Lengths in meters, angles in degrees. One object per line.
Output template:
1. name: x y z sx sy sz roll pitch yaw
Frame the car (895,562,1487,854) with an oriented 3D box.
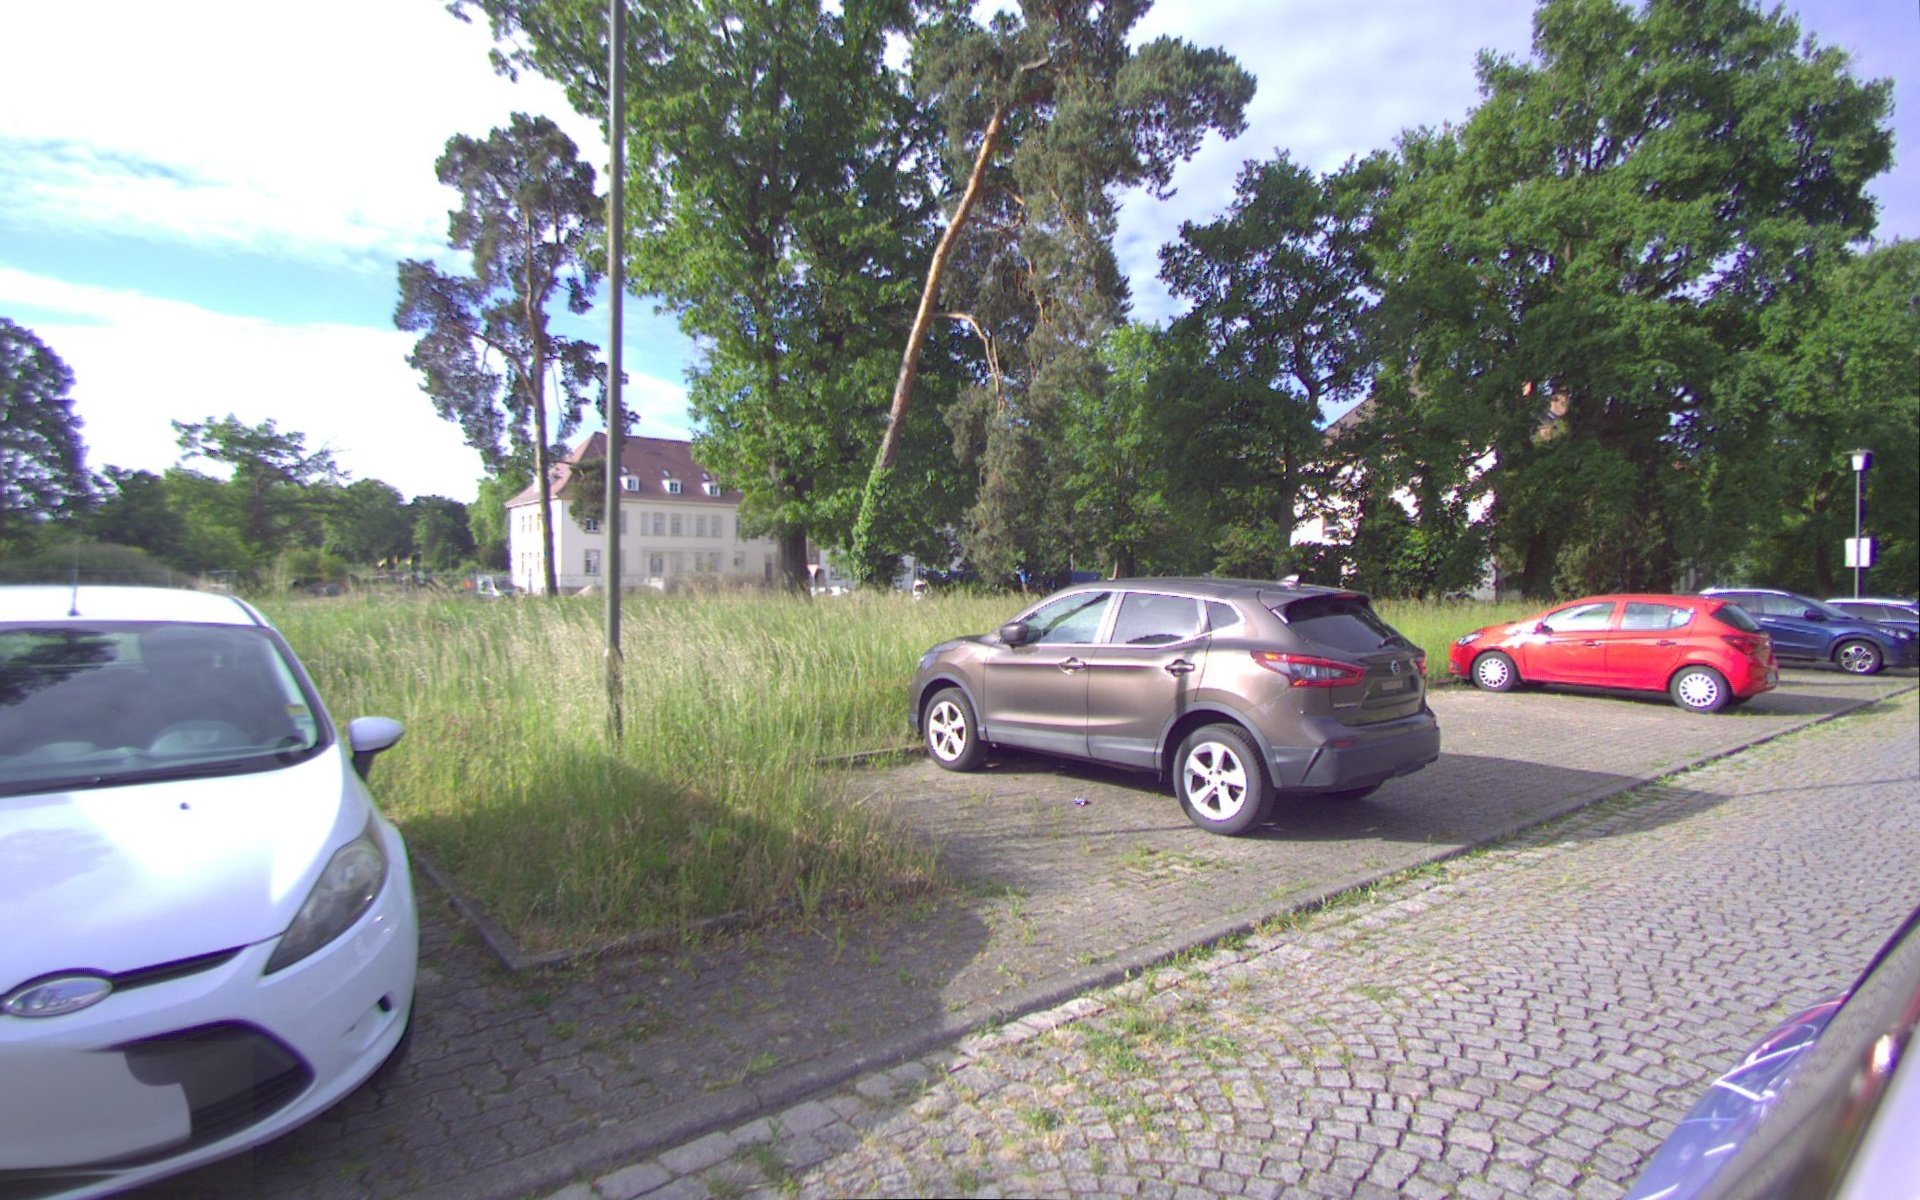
1. car: 1.480 0.521 7.803 1.845 1.608 4.200 -1 2 -40

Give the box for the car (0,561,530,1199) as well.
1. car: -3.239 0.605 3.711 1.777 1.488 4.196 -1 2 -42

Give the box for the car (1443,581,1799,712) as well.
1. car: 9.179 0.524 14.312 1.657 1.491 3.886 -1 3 -40

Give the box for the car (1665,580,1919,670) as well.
1. car: 17.074 0.418 20.611 1.715 1.588 4.135 -1 2 -39

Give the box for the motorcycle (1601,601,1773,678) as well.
1. motorcycle: 12.433 0.639 17.399 0.596 1.127 2.308 -1 2 -37

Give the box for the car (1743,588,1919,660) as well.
1. car: 20.804 0.519 23.334 1.750 1.468 4.038 -1 2 -37

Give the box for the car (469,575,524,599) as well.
1. car: -41.165 -1.187 89.767 5.648 2.039 2.591 1 2 45
